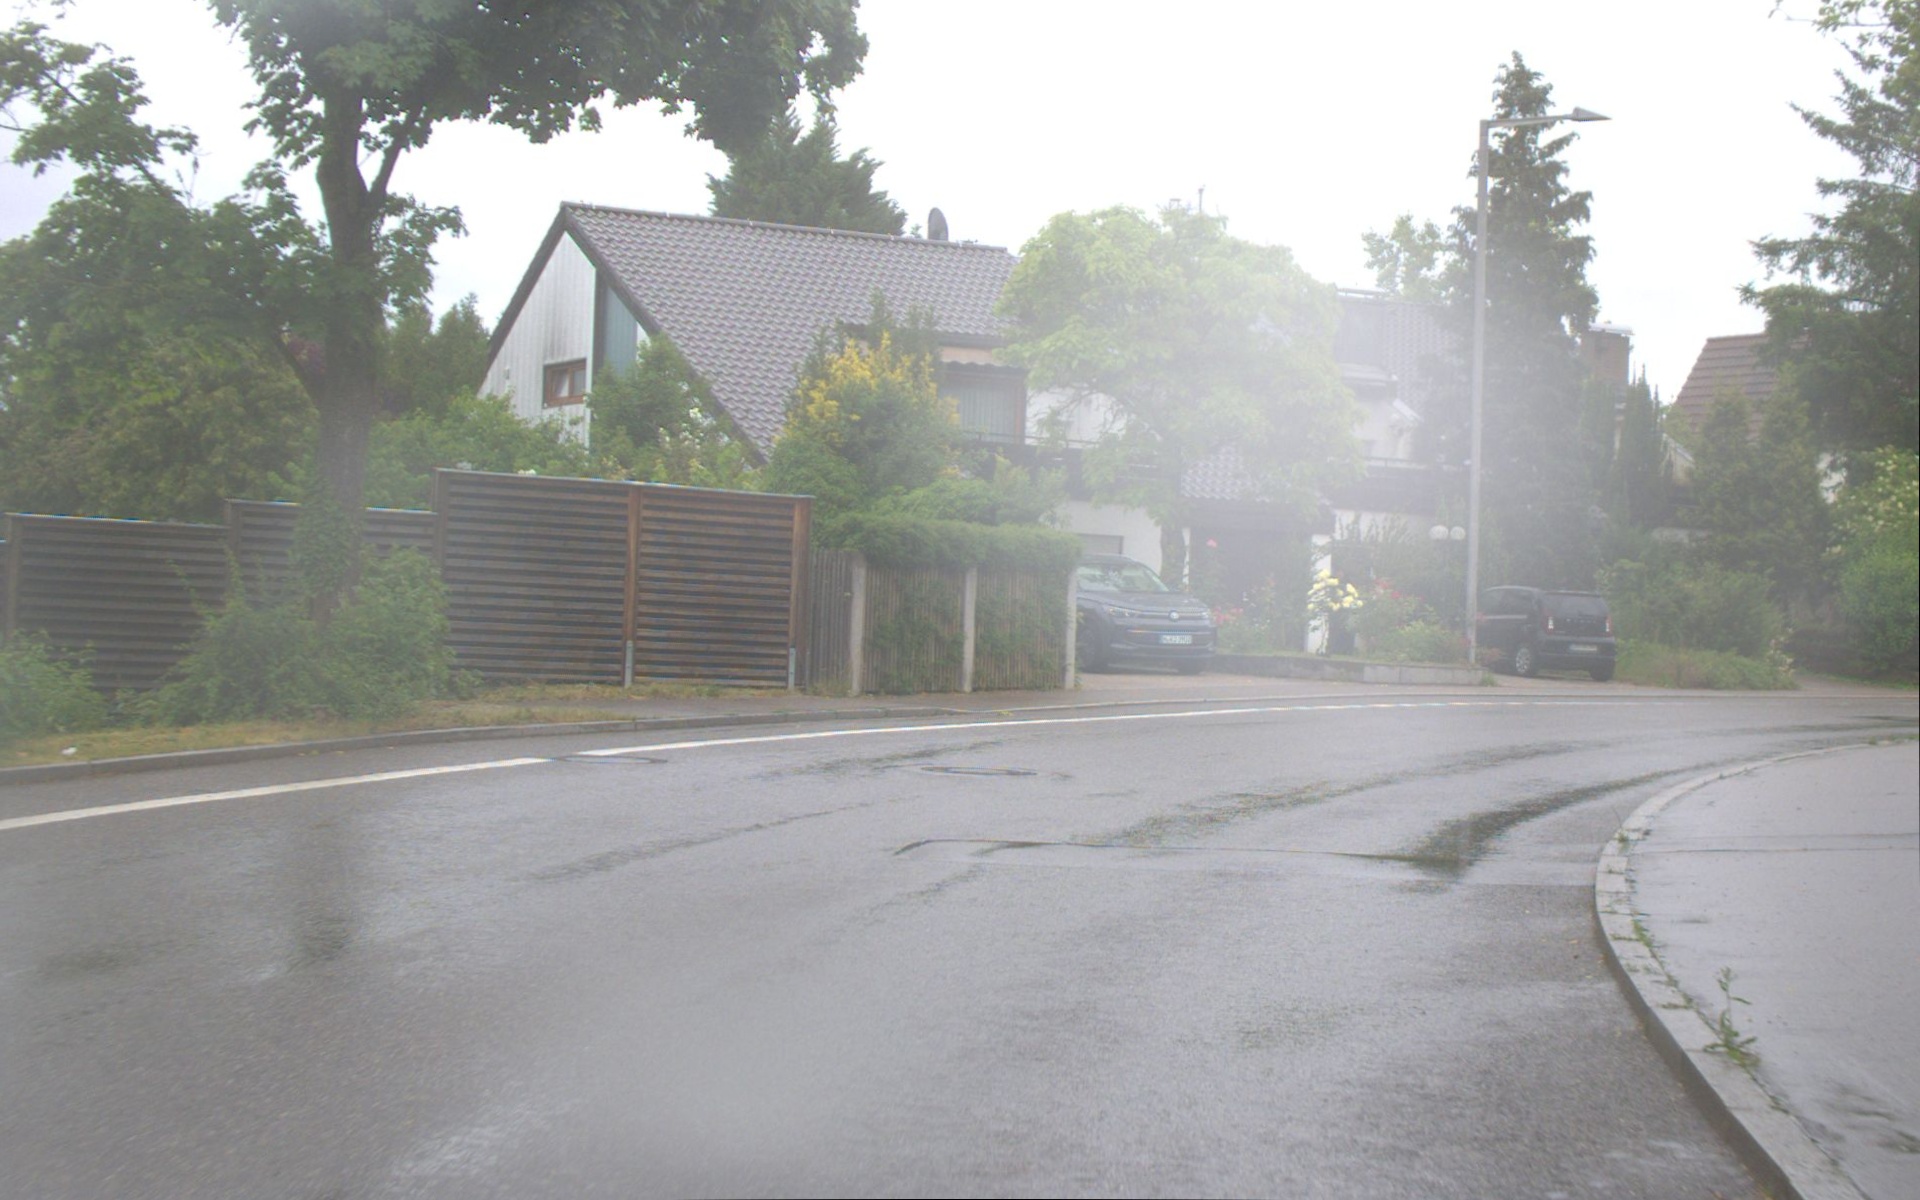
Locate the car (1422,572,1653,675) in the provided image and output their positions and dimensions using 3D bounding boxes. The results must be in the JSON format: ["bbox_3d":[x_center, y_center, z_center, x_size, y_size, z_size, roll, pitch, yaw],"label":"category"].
[{"bbox_3d":[9.365,0.363,56.101,1.934,1.384,4.002,5,0,-19],"label":"car"}]

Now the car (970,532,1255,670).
[{"bbox_3d":[2.126,-0.006,48.958,2.007,1.626,4.000,4,1,-33],"label":"car"}]
